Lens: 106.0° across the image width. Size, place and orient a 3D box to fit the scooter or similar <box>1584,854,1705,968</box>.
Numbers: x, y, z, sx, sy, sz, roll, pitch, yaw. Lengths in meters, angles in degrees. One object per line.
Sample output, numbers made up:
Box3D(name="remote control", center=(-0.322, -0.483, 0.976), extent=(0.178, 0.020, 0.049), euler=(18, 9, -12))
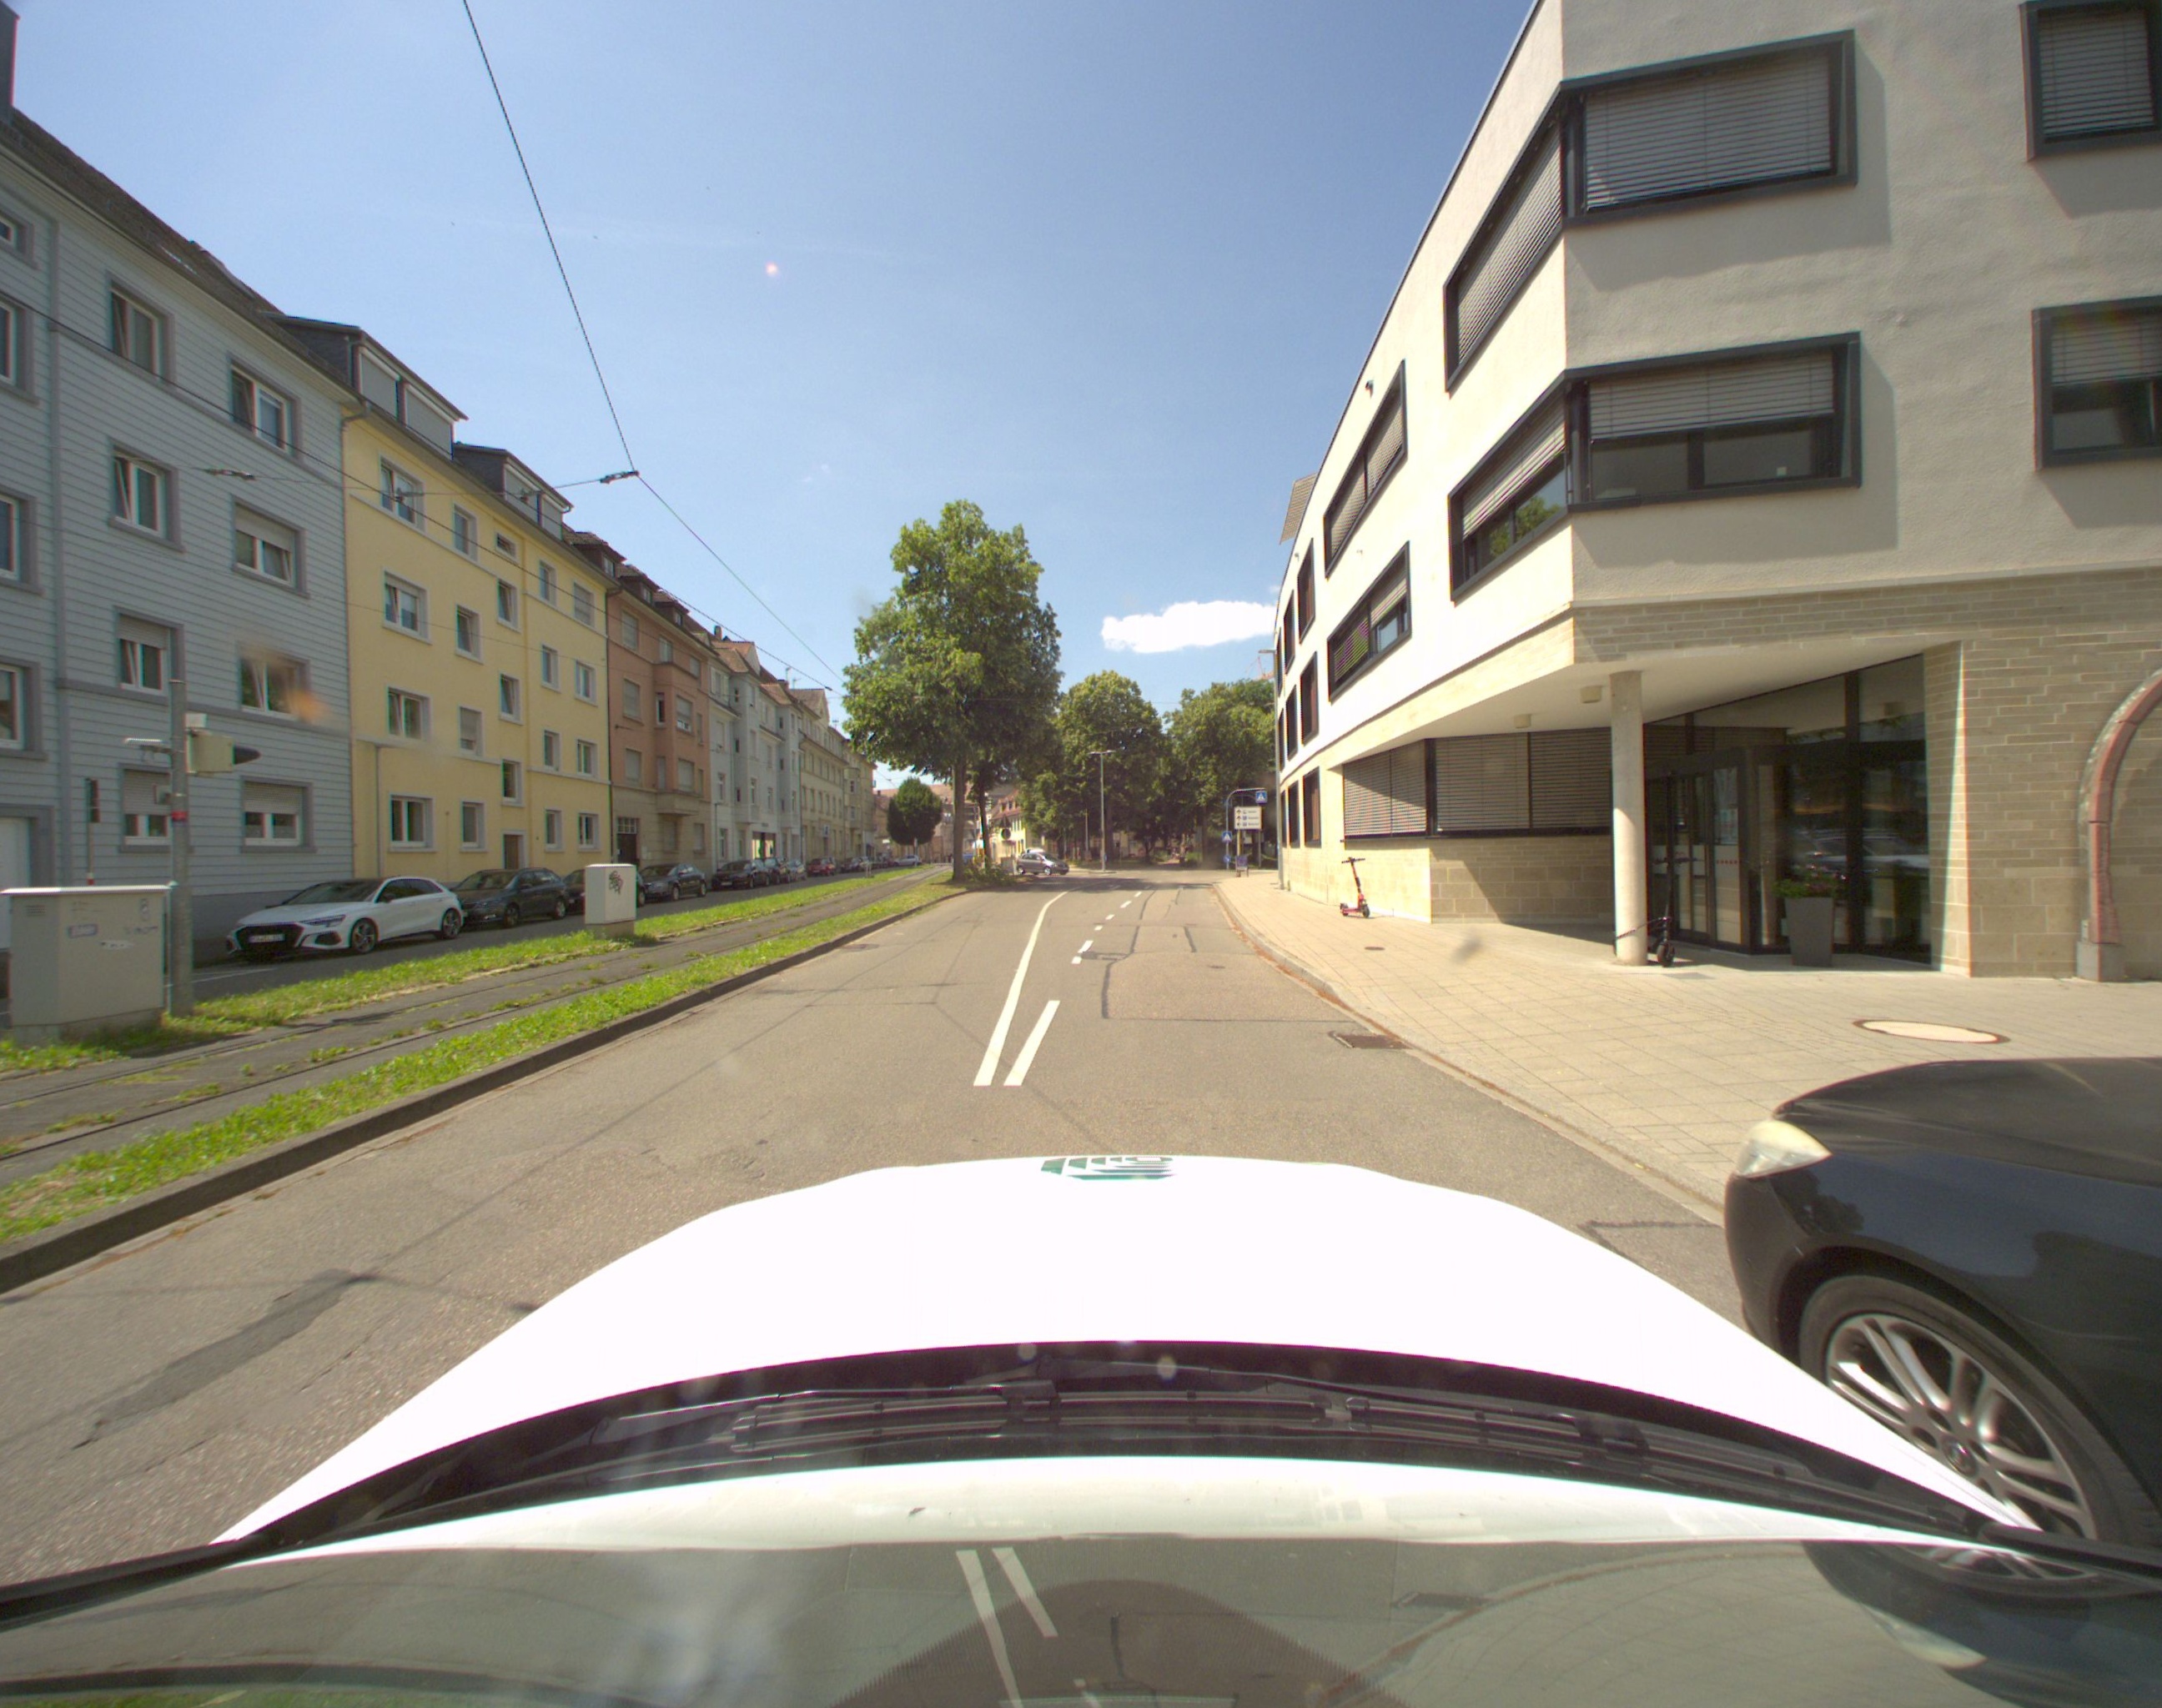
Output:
Box3D(name="scooter or similar", center=(6.465, 0.617, 9.420), extent=(0.421, 1.211, 1.313), euler=(-1, 0, -3))

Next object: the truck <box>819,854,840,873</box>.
Box3D(name="truck", center=(-20.432, 0.742, 66.214), extent=(1.125, 1.494, 2.587), euler=(-3, 1, -8))

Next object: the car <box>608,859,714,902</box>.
Box3D(name="car", center=(-16.131, 0.961, 31.579), extent=(1.925, 1.398, 4.854), euler=(-3, 1, -6))

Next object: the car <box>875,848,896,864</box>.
Box3D(name="car", center=(-24.268, 0.231, 101.350), extent=(1.851, 1.911, 4.760), euler=(-3, 1, -7))

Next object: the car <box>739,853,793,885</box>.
Box3D(name="car", center=(-18.095, 0.818, 46.930), extent=(1.835, 1.685, 4.133), euler=(-3, 1, -7))

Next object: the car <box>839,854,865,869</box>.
Box3D(name="car", center=(-21.620, 0.688, 77.043), extent=(1.684, 1.360, 3.848), euler=(-3, 1, -7))

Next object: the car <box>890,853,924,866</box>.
Box3D(name="car", center=(-22.915, 0.654, 107.352), extent=(4.204, 1.505, 1.996), euler=(-3, 0, -11))

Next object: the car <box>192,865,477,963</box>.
Box3D(name="car", center=(-14.281, 1.044, 16.022), extent=(1.927, 1.451, 4.363), euler=(-3, 1, -9))

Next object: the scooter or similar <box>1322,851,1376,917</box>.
Box3D(name="scooter or similar", center=(5.484, 0.595, 16.720), extent=(0.580, 1.260, 1.367), euler=(-3, 0, -1))

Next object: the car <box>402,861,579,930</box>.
Box3D(name="car", center=(-15.219, 0.988, 21.344), extent=(1.927, 1.505, 4.313), euler=(-2, 1, -9))

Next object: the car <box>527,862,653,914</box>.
Box3D(name="car", center=(-15.579, 1.019, 26.108), extent=(1.829, 1.400, 4.133), euler=(-2, 1, -6))

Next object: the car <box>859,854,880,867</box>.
Box3D(name="car", center=(-22.710, 0.659, 87.406), extent=(1.685, 1.277, 3.281), euler=(-3, 1, -7))

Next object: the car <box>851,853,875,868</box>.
Box3D(name="car", center=(-22.095, 0.656, 82.589), extent=(1.684, 1.390, 3.848), euler=(-3, 1, -7))

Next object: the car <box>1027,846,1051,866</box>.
Box3D(name="car", center=(-4.020, 0.200, 76.996), extent=(1.992, 1.826, 4.411), euler=(0, 0, -7))

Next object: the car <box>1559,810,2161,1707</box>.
Box3D(name="car", center=(2.598, 0.665, 0.388), extent=(1.796, 1.509, 4.542), euler=(-4, 0, -3))

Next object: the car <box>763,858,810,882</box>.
Box3D(name="car", center=(-18.583, 0.961, 51.590), extent=(1.805, 1.356, 4.240), euler=(-3, 1, -7))

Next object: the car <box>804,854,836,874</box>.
Box3D(name="car", center=(-19.830, 0.732, 61.964), extent=(1.570, 1.451, 3.617), euler=(-3, 1, -7))

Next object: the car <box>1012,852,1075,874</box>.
Box3D(name="car", center=(-2.649, 0.603, 56.863), extent=(4.189, 1.534, 1.922), euler=(0, 0, 38))

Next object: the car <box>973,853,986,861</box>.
Box3D(name="car", center=(-17.616, 0.498, 141.538), extent=(1.862, 1.486, 3.982), euler=(0, 0, -13))

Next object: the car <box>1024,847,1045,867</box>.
Box3D(name="car", center=(-4.885, 0.244, 85.250), extent=(2.046, 2.002, 5.239), euler=(0, 0, -5))

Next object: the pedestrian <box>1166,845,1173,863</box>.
Box3D(name="pedestrian", center=(9.544, 0.018, 87.872), extent=(0.743, 1.910, 0.686), euler=(0, 1, 8))

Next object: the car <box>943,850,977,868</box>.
Box3D(name="car", center=(-10.547, 0.431, 71.158), extent=(1.799, 1.492, 4.008), euler=(1, -1, 7))

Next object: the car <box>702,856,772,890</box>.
Box3D(name="car", center=(-17.364, 0.902, 41.340), extent=(1.926, 1.490, 4.852), euler=(-3, 1, -7))

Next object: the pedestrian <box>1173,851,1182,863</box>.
Box3D(name="pedestrian", center=(10.347, 0.365, 87.405), extent=(0.900, 1.252, 1.151), euler=(0, 2, 8))
